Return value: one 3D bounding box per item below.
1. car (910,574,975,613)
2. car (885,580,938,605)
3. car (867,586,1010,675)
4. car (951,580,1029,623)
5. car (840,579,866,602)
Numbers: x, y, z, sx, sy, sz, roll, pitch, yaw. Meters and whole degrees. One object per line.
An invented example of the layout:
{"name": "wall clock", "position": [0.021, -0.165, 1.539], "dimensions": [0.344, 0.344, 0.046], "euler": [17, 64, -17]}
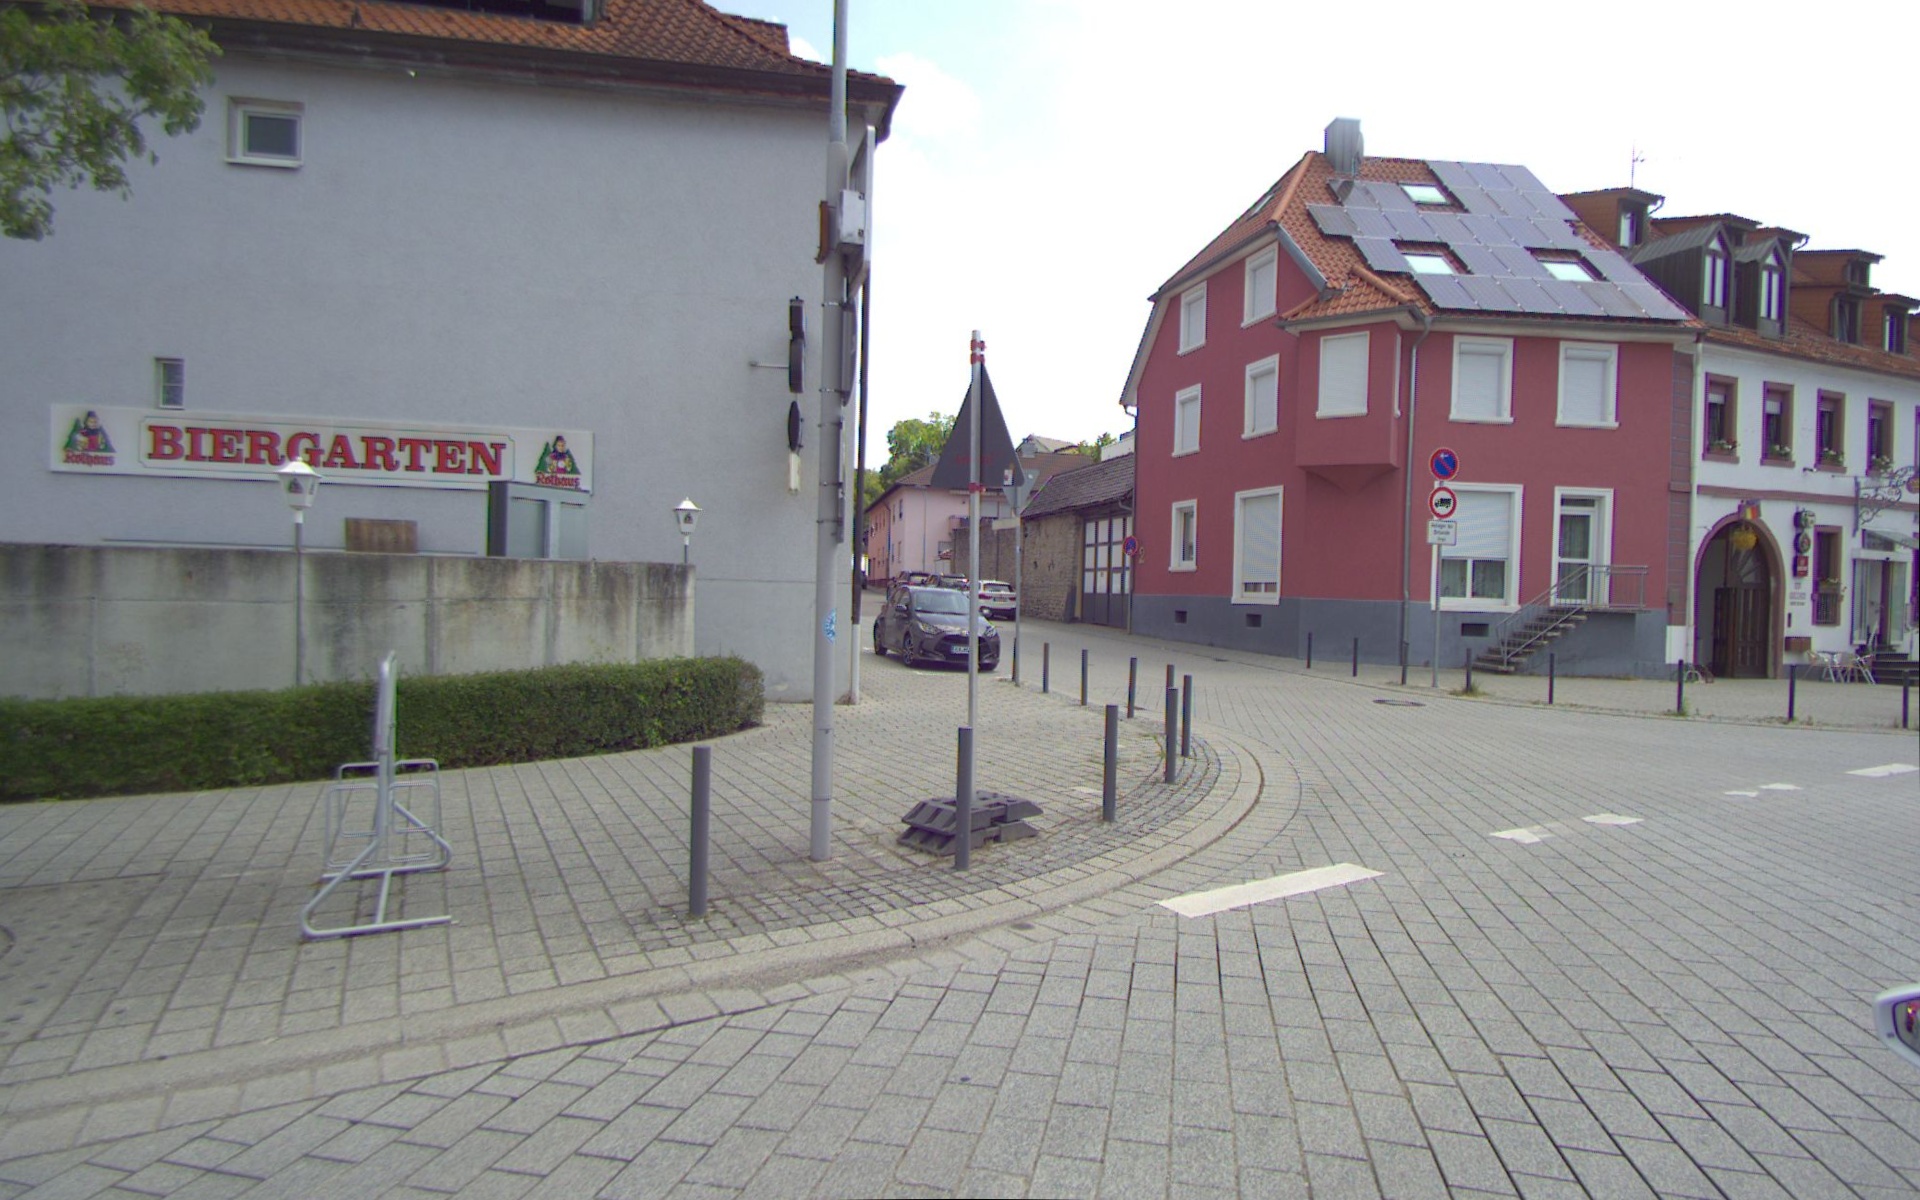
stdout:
{"name": "car", "position": [-0.831, -0.305, 44.902], "dimensions": [1.766, 1.515, 3.982], "euler": [2, 2, -19]}
{"name": "car", "position": [-2.466, -0.382, 50.192], "dimensions": [1.573, 1.168, 3.983], "euler": [2, 1, -18]}
{"name": "car", "position": [-0.534, 0.532, 19.784], "dimensions": [1.745, 1.538, 3.938], "euler": [2, 1, -18]}
{"name": "car", "position": [1.125, 0.017, 38.833], "dimensions": [1.954, 1.538, 3.452], "euler": [2, 1, -18]}
{"name": "car", "position": [-8.412, -0.729, 78.853], "dimensions": [1.728, 1.728, 3.992], "euler": [2, 0, -10]}
